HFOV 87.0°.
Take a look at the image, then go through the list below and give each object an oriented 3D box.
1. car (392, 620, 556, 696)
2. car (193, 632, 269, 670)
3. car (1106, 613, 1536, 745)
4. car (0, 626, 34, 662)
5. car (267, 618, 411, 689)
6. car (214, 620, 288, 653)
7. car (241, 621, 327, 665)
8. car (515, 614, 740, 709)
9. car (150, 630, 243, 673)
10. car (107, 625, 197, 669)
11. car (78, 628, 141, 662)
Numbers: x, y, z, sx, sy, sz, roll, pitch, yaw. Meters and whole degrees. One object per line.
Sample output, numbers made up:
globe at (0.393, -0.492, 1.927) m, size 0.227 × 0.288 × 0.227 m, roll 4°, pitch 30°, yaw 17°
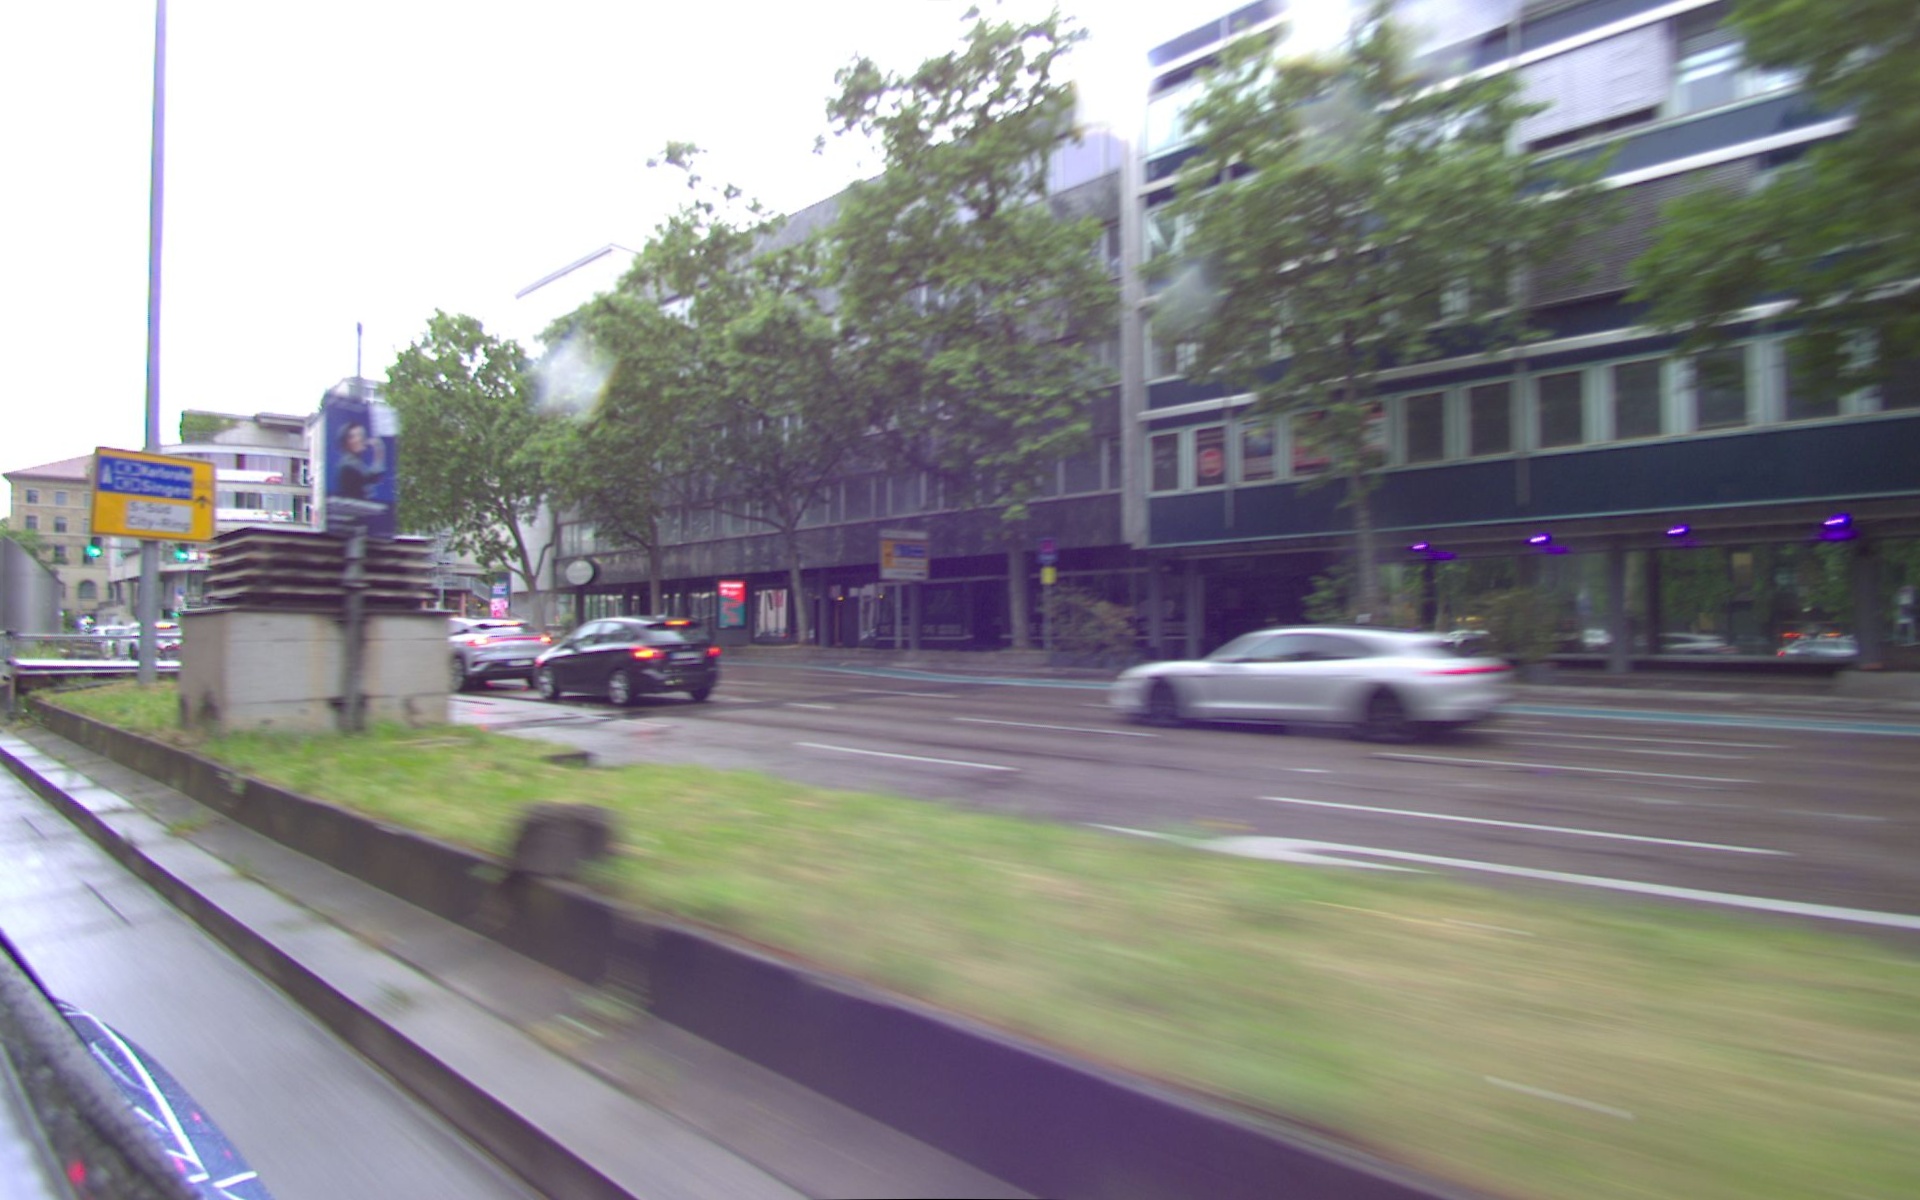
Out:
car at (-11.301, 1.284, 23.388) m, size 4.830 × 1.585 × 1.716 m, roll -2°, pitch -2°, yaw 42°
car at (-32.467, 2.240, 45.048) m, size 3.995 × 1.577 × 1.736 m, roll -1°, pitch -1°, yaw 38°
car at (4.564, 0.936, 13.278) m, size 4.950 × 1.420 × 1.948 m, roll -2°, pitch -2°, yaw 38°
car at (-41.848, 1.922, 44.032) m, size 4.162 × 1.493 × 1.824 m, roll -2°, pitch -2°, yaw 41°
car at (-17.139, 1.422, 27.832) m, size 5.104 × 1.780 × 1.817 m, roll -2°, pitch -2°, yaw 40°
car at (-36.097, 1.826, 51.480) m, size 4.653 × 1.630 × 1.741 m, roll -1°, pitch -1°, yaw 37°
car at (-27.434, 1.734, 41.003) m, size 4.410 × 1.678 × 1.824 m, roll -2°, pitch -2°, yaw 41°
car at (-6.265, 1.085, 18.805) m, size 4.538 × 1.564 × 1.894 m, roll -2°, pitch -2°, yaw 40°
car at (-28.641, 1.901, 37.914) m, size 4.914 × 1.462 × 1.824 m, roll -2°, pitch -2°, yaw 41°
car at (-33.604, 1.929, 42.038) m, size 4.791 × 1.698 × 1.859 m, roll -2°, pitch -2°, yaw 38°
car at (-38.758, 2.030, 46.112) m, size 3.429 × 1.487 × 1.699 m, roll -2°, pitch -2°, yaw 41°
